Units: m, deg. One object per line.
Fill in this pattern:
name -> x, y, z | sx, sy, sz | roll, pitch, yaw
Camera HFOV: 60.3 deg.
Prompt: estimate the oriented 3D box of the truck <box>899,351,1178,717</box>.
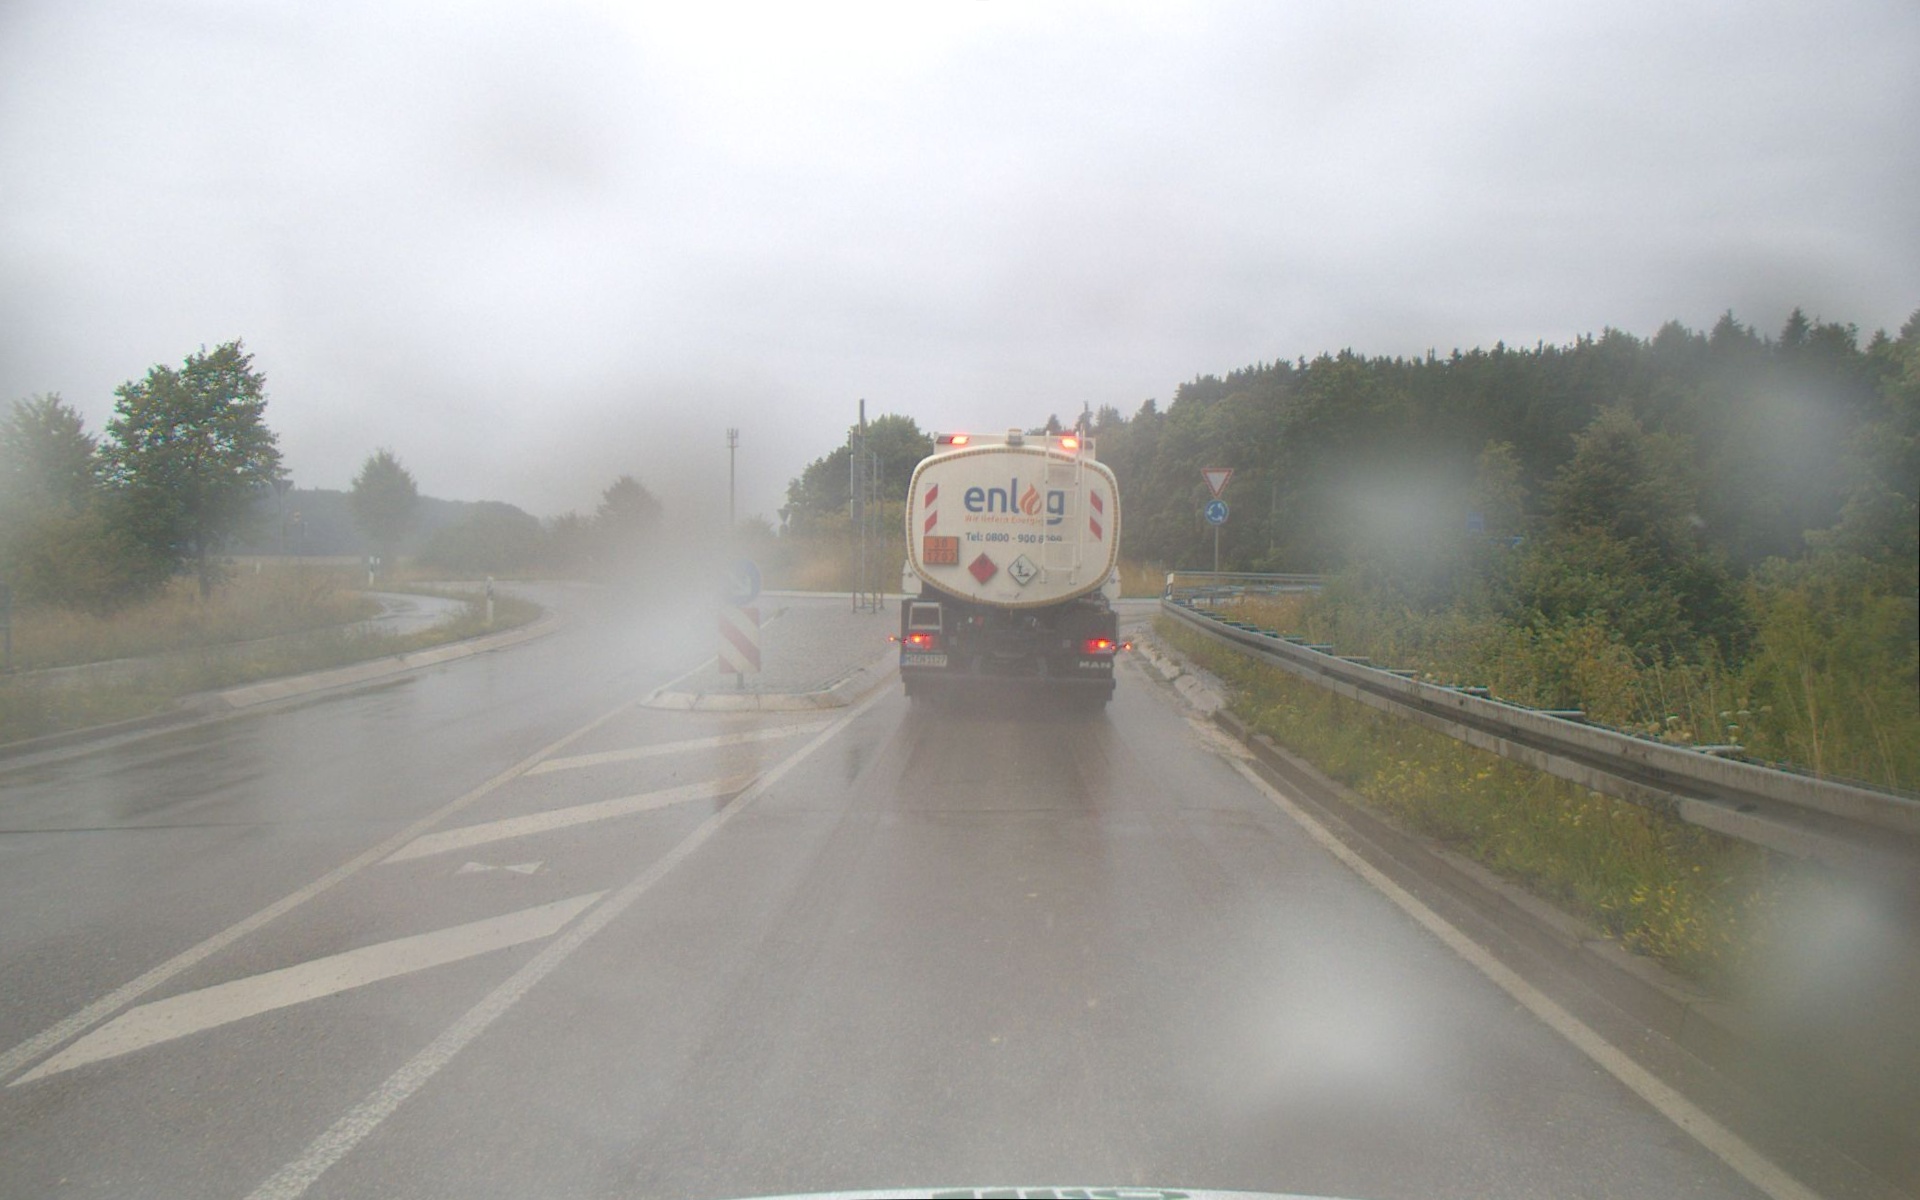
truck -> 0.970, -0.808, 22.253 | 2.976, 3.918, 8.825 | 1, 1, 2
